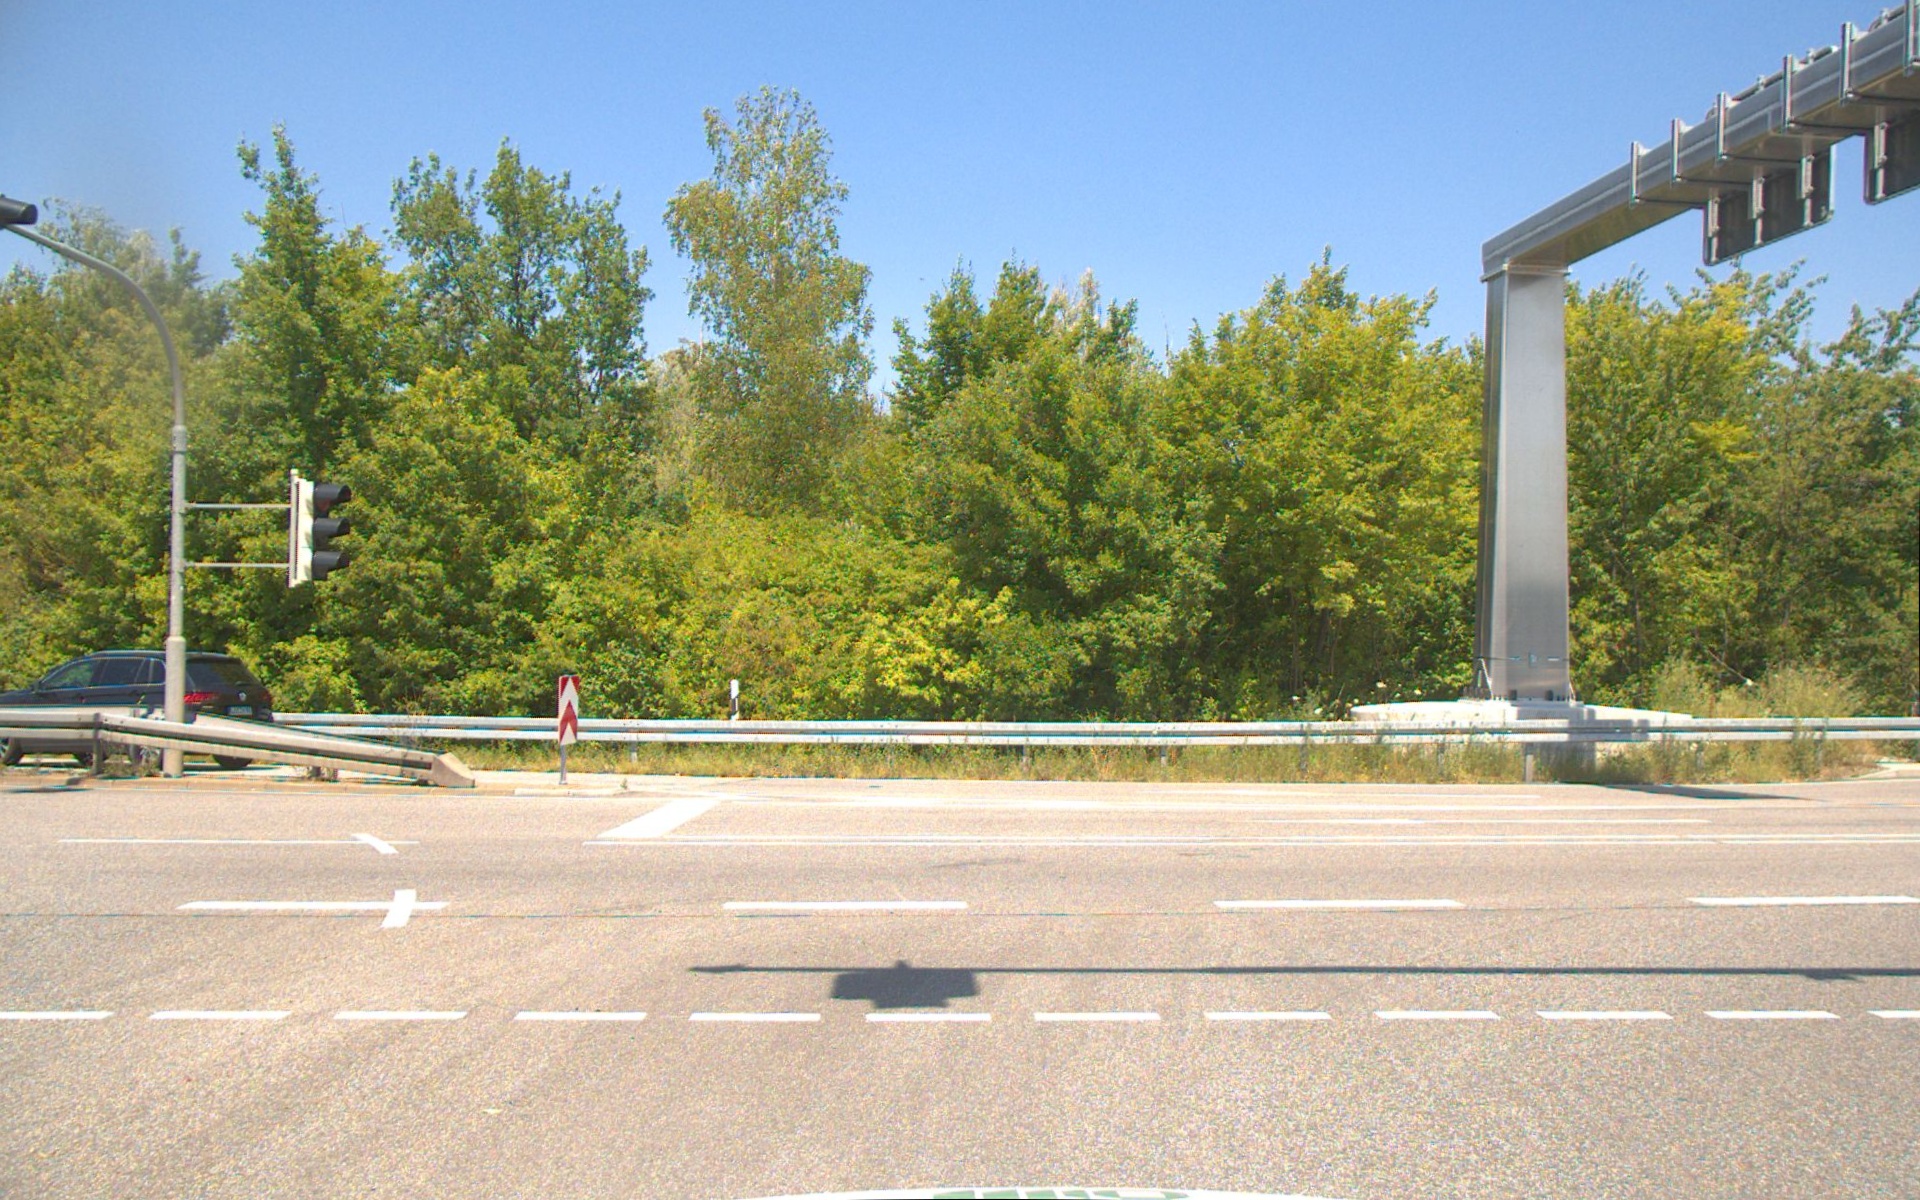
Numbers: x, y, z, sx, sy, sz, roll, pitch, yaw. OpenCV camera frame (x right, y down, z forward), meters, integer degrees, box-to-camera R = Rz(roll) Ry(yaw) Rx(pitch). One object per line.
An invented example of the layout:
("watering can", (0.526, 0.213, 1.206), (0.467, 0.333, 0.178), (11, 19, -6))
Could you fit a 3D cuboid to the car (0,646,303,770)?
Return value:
("car", (-11.849, 1.534, 23.725), (4.172, 1.661, 1.905), (-1, -5, 17))
